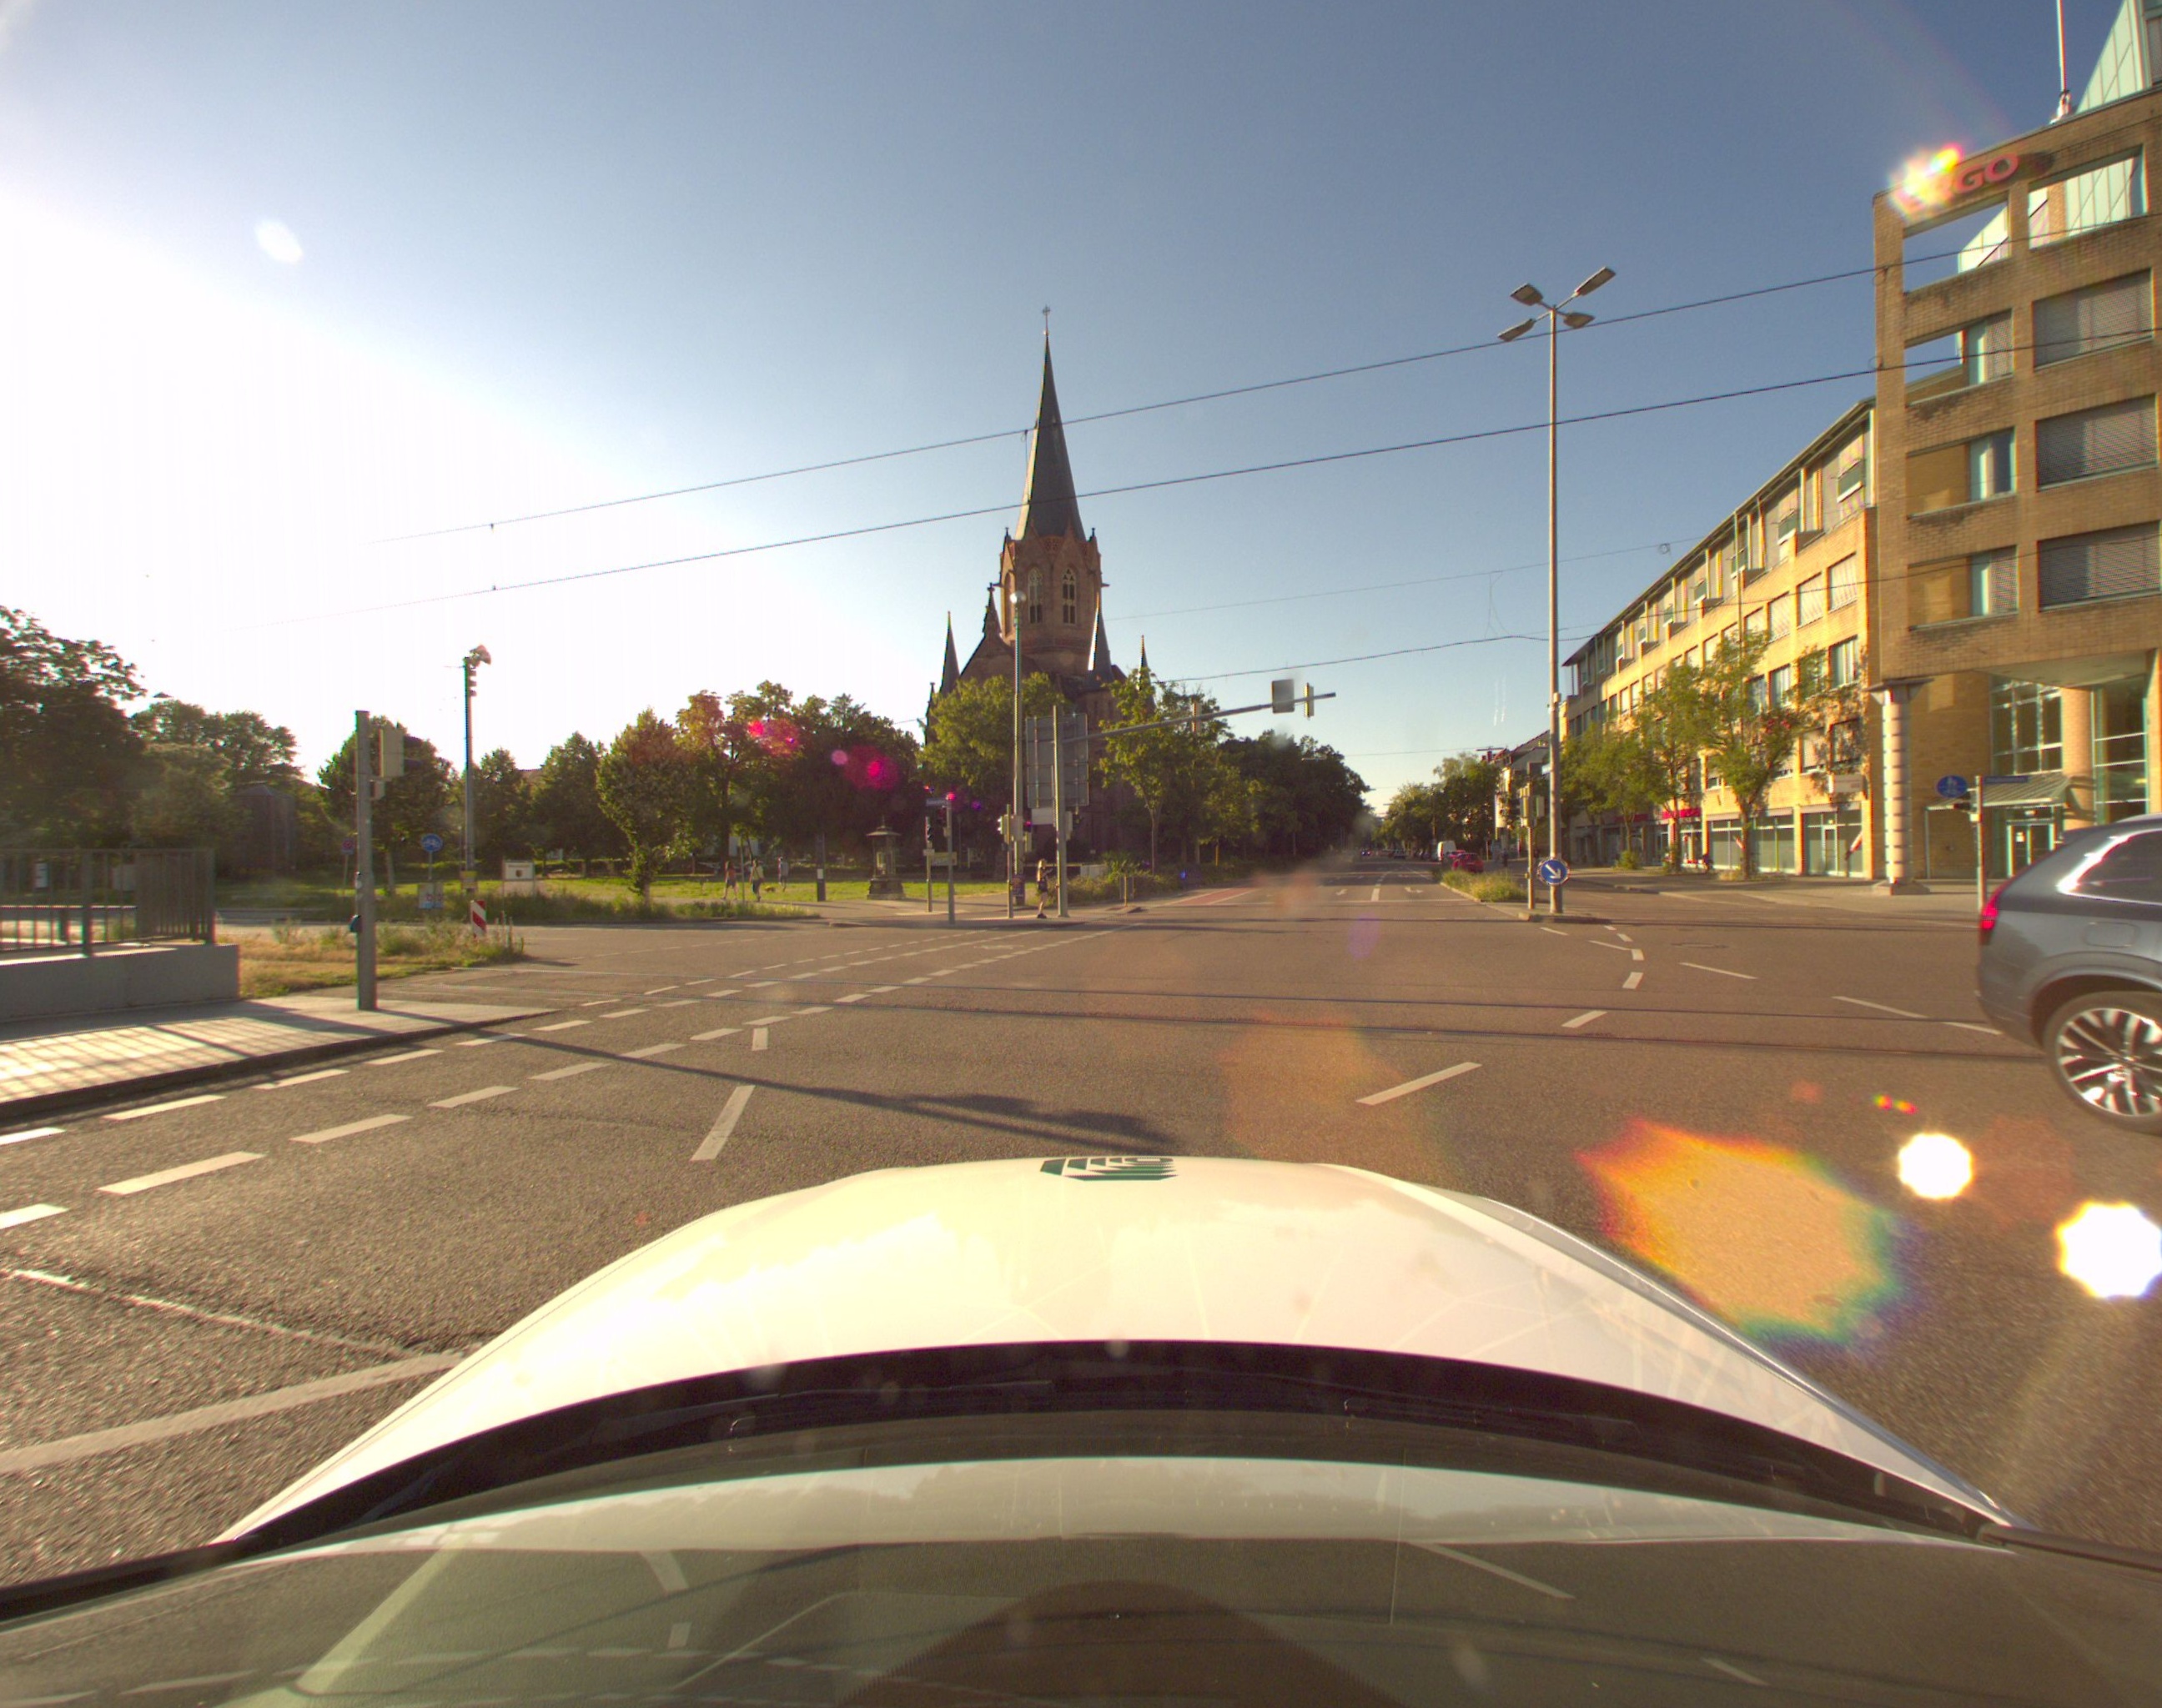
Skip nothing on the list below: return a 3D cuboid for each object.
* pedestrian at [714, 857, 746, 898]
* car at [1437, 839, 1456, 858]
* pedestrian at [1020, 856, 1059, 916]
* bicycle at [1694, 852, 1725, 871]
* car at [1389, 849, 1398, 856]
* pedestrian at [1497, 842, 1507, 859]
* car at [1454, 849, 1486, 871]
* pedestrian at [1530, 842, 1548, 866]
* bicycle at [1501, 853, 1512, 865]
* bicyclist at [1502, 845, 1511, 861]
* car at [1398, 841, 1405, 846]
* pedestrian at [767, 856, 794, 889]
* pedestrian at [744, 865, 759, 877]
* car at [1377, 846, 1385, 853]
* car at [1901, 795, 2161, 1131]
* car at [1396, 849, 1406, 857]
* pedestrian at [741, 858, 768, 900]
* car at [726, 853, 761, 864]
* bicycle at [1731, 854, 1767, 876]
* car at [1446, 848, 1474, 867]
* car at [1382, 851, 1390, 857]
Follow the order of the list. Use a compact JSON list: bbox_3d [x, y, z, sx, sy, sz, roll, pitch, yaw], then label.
[{"bbox_3d":[-14.980,0.983,34.770,1.004,1.696,0.850,0,0,37],"label":"pedestrian"},{"bbox_3d":[45.998,-0.694,102.539,1.977,2.440,4.020,0,0,20],"label":"car"},{"bbox_3d":[-1.226,0.945,24.251,0.802,1.739,0.973,-1,0,21],"label":"pedestrian"},{"bbox_3d":[33.386,0.380,43.274,0.641,0.994,2.091,-1,0,19],"label":"bicycle"},{"bbox_3d":[58.925,-0.243,153.455,1.581,1.267,3.283,-1,0,20],"label":"car"},{"bbox_3d":[45.275,-0.347,87.660,0.840,1.803,0.779,-1,0,20],"label":"pedestrian"},{"bbox_3d":[27.188,0.418,57.031,1.656,1.462,4.020,0,0,20],"label":"car"},{"bbox_3d":[38.615,0.011,68.707,1.098,1.976,1.167,-1,0,20],"label":"pedestrian"},{"bbox_3d":[37.066,0.446,70.948,0.587,0.943,1.988,1,1,20],"label":"bicycle"},{"bbox_3d":[37.061,-0.086,70.926,0.587,1.369,0.934,1,1,20],"label":"bicyclist"},{"bbox_3d":[81.750,-2.785,207.801,1.581,1.267,3.283,-1,0,20],"label":"car"},{"bbox_3d":[-15.481,0.933,41.977,1.008,1.696,0.846,0,0,7],"label":"pedestrian"},{"bbox_3d":[-27.804,1.438,68.668,0.799,0.953,1.174,0,0,-1],"label":"pedestrian"},{"bbox_3d":[75.656,-1.189,205.691,1.870,1.671,4.020,0,0,20],"label":"car"},{"bbox_3d":[6.430,0.525,3.004,1.984,1.724,5.037,-1,-1,5],"label":"car"},{"bbox_3d":[53.714,-0.206,136.767,1.581,1.267,3.283,-1,0,20],"label":"car"},{"bbox_3d":[-13.512,1.017,33.731,0.884,1.696,0.715,0,0,40],"label":"pedestrian"},{"bbox_3d":[-51.876,0.676,125.208,4.424,1.571,2.005,-1,0,8],"label":"car"},{"bbox_3d":[31.796,0.512,38.781,0.641,0.994,2.091,-1,0,19],"label":"bicycle"},{"bbox_3d":[33.682,0.291,72.525,1.900,1.607,4.291,0,0,20],"label":"car"},{"bbox_3d":[64.353,-0.003,171.726,1.581,1.267,3.283,-1,0,20],"label":"car"}]
